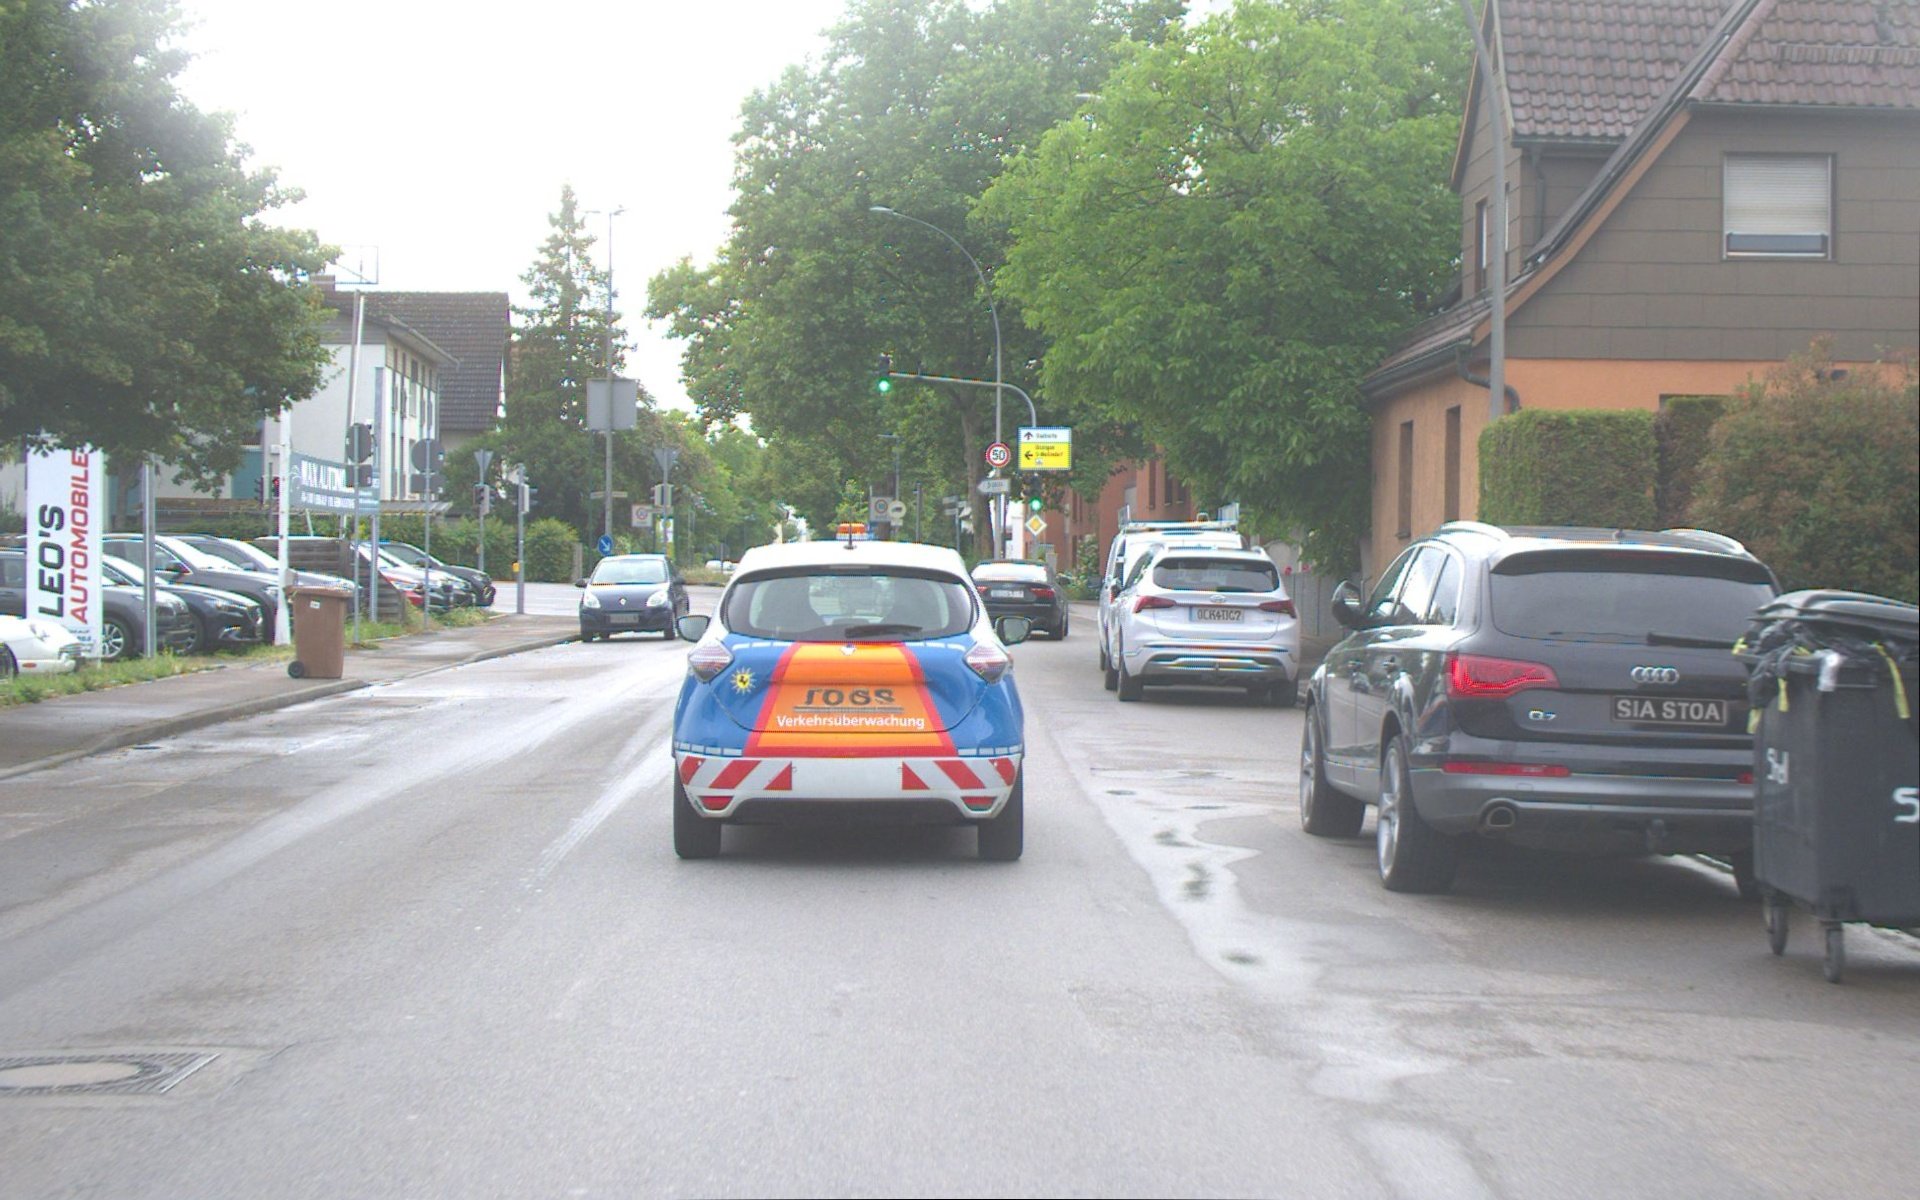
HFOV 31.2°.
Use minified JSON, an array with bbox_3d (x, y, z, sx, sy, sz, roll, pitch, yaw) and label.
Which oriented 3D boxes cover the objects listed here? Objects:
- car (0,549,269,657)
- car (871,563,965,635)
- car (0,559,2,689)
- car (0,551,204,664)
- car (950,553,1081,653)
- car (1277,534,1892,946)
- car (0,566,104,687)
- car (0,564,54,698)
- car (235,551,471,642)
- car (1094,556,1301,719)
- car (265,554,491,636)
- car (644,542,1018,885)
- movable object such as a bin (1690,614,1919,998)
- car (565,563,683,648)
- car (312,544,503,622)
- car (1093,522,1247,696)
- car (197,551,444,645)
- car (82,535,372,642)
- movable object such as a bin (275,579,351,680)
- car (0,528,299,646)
[{"bbox_3d":[-12.224,0.024,48.992,4.347,1.459,1.941,1,1,0],"label":"car"},{"bbox_3d":[-0.948,-0.041,75.718,1.794,1.423,4.001,2,2,-4],"label":"car"},{"bbox_3d":[-11.925,0.244,33.693,4.557,1.305,1.889,0,1,-1],"label":"car"},{"bbox_3d":[-12.433,0.083,46.505,3.987,1.459,1.839,1,1,0],"label":"car"},{"bbox_3d":[0.925,0.024,59.665,1.993,1.568,4.001,2,2,-2],"label":"car"},{"bbox_3d":[2.886,0.558,17.010,2.091,1.656,4.559,2,2,-1],"label":"car"},{"bbox_3d":[-12.102,0.278,38.801,4.451,1.327,1.771,0,1,-1],"label":"car"},{"bbox_3d":[-12.016,0.298,36.384,4.376,1.369,1.889,0,1,-1],"label":"car"},{"bbox_3d":[-11.243,-0.075,63.855,3.987,1.538,1.803,2,1,2],"label":"car"},{"bbox_3d":[2.552,0.360,37.884,1.865,1.659,4.320,1,1,-1],"label":"car"},{"bbox_3d":[-11.209,-0.100,66.365,3.987,1.436,1.803,2,1,2],"label":"car"},{"bbox_3d":[-0.629,0.498,18.051,1.745,1.575,4.000,0,1,-1],"label":"car"},{"bbox_3d":[3.603,0.762,13.414,1.126,1.383,1.504,0,1,-3],"label":"movable object such as a bin"},{"bbox_3d":[-5.842,0.078,60.062,1.626,1.428,3.683,0,1,1],"label":"car"},{"bbox_3d":[-11.831,-0.366,73.555,3.945,1.525,1.623,1,2,-10],"label":"car"},{"bbox_3d":[2.635,0.058,44.033,1.778,2.022,4.754,2,2,2],"label":"car"},{"bbox_3d":[-11.343,-0.049,61.105,3.987,1.538,1.803,2,1,2],"label":"car"},{"bbox_3d":[-12.051,-0.197,56.727,4.347,1.684,1.959,1,1,0],"label":"car"},{"bbox_3d":[-7.372,0.334,39.182,0.708,1.126,0.735,1,1,0],"label":"movable object such as a bin"},{"bbox_3d":[-12.258,-0.210,51.355,4.347,1.685,2.058,1,1,0],"label":"car"}]
